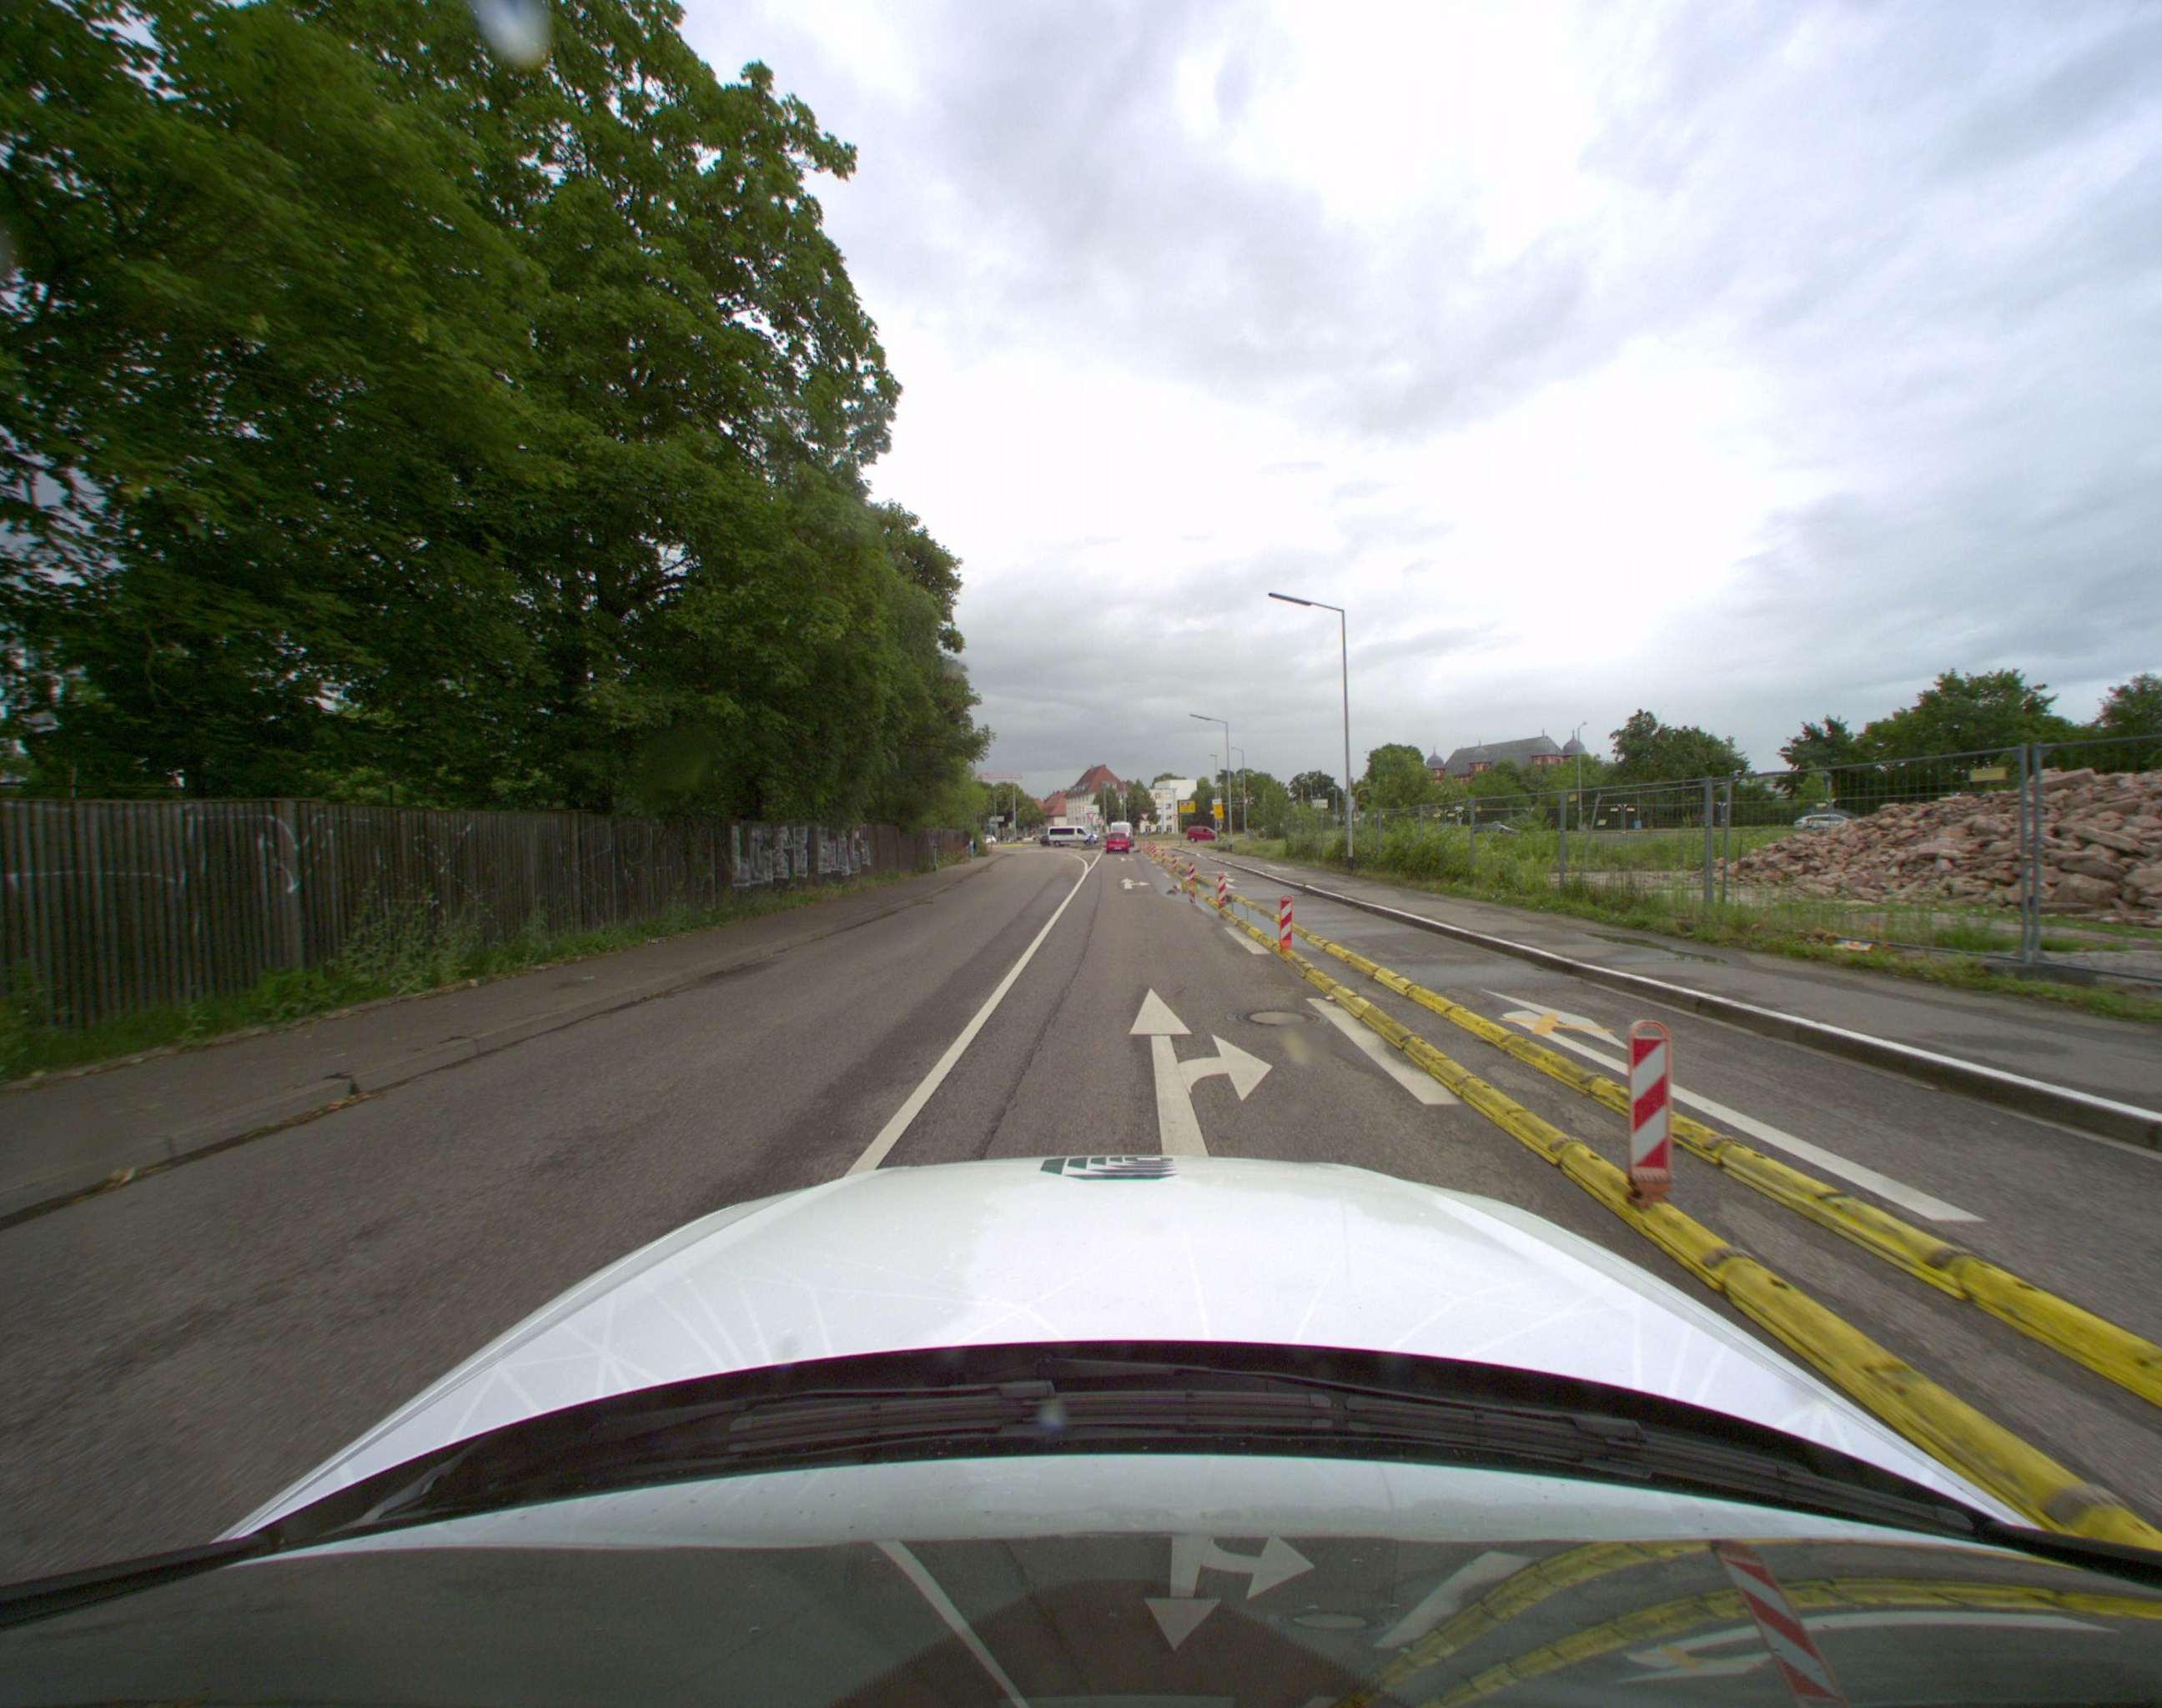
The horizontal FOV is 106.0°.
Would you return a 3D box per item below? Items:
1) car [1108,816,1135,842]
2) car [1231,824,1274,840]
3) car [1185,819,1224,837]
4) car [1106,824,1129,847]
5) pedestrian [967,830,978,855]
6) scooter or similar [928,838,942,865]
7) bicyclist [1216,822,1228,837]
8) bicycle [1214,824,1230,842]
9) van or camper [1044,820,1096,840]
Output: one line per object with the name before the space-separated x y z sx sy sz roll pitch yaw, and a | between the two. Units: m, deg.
car | 4.192 -2.573 83.577 2.182 2.539 4.975 0 2 8
car | 20.702 -2.639 98.321 4.551 1.795 2.128 0 2 45
car | 14.426 -3.014 95.022 4.165 1.917 2.124 -2 1 13
car | 2.686 -1.354 60.130 1.666 1.640 3.630 -1 2 3
pedestrian | -6.961 -0.739 52.317 0.610 1.529 0.723 -2 1 -2
scooter or similar | -6.690 -0.127 37.419 0.422 1.170 1.302 -2 1 -3
bicyclist | 13.774 -2.386 79.720 1.056 1.401 0.616 -2 1 5
bicycle | 13.628 -2.023 78.741 1.470 1.612 0.607 -2 1 5
van or camper | -1.261 -2.728 93.231 5.493 2.115 2.009 -2 1 15
